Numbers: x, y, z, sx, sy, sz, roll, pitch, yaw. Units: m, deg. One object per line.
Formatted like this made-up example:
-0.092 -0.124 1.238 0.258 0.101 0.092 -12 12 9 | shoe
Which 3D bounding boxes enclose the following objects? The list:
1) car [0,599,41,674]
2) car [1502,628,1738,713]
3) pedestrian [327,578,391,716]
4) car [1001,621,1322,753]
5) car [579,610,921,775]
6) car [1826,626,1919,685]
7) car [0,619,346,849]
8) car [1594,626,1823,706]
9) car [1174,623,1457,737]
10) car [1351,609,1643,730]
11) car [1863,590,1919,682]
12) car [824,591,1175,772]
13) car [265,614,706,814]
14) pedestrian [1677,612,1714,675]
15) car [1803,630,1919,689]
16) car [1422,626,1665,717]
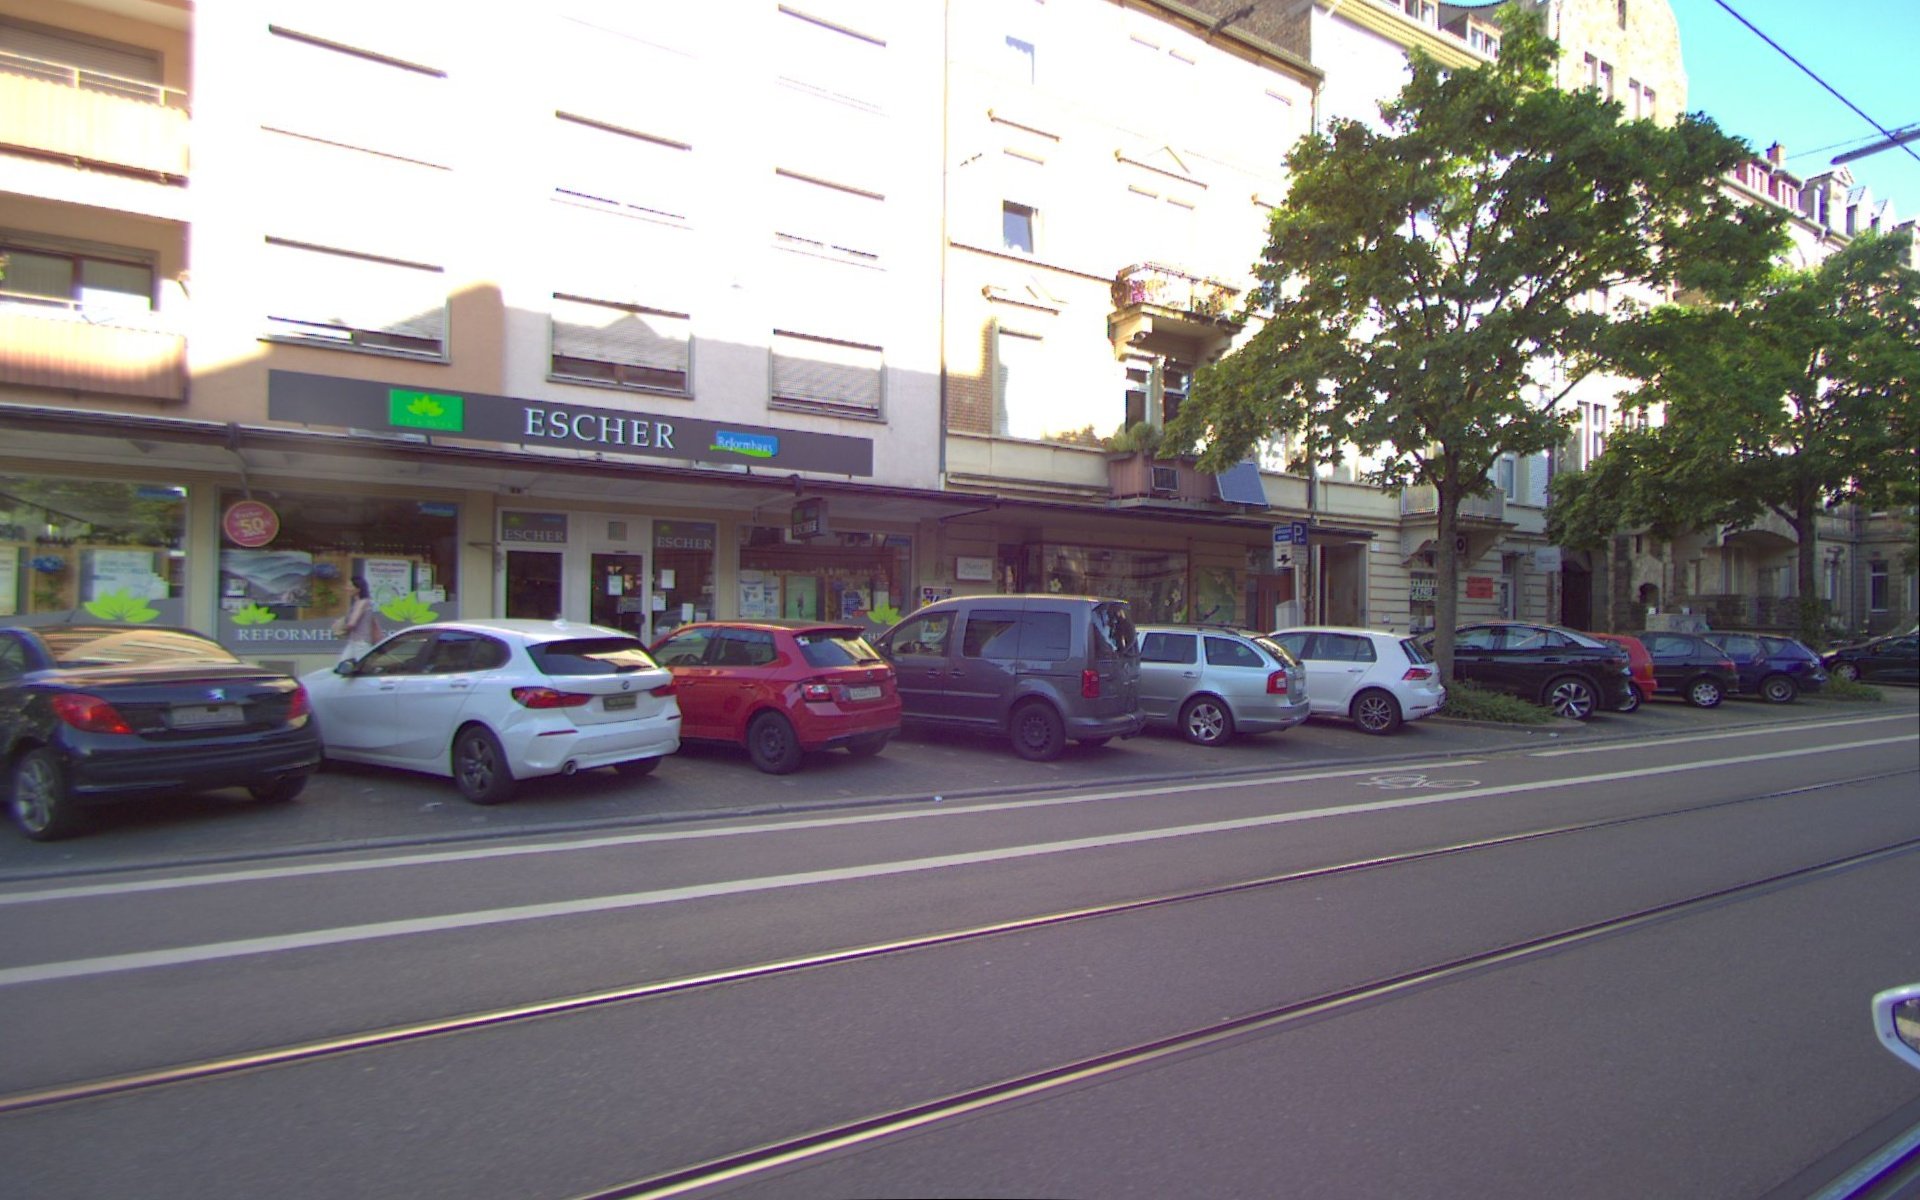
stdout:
-23.948 0.915 22.930 1.659 1.737 3.996 1 2 25 | car
13.592 1.400 20.991 3.926 1.509 1.804 1 -1 28 | car
-7.499 0.575 12.550 0.634 1.674 0.566 2 0 -30 | pedestrian
2.708 1.078 13.661 3.945 1.468 1.697 1 -1 28 | car
-2.294 0.876 10.830 3.410 1.492 1.645 0 -1 31 | car
28.295 1.659 29.651 3.933 1.639 1.707 1 -1 35 | car
-6.672 0.877 7.835 3.406 1.355 1.623 1 -1 26 | car
16.503 1.399 22.425 3.931 1.509 1.802 1 -1 33 | car
5.443 1.137 15.510 3.780 1.449 1.761 1 -1 35 | car
9.318 1.126 17.736 4.287 1.806 1.993 1 -1 28 | car
31.210 1.164 30.518 5.293 2.785 1.802 1 0 31 | car
0.460 0.849 11.995 3.753 1.808 1.795 1 -1 28 | car
-4.384 0.895 9.243 3.722 1.418 1.753 1 -1 27 | car
20.766 1.233 28.369 0.753 1.749 0.575 2 0 -31 | pedestrian
26.221 1.675 28.074 3.945 1.509 1.795 1 -1 44 | car
11.269 1.322 19.690 3.926 1.509 1.865 1 -1 28 | car
